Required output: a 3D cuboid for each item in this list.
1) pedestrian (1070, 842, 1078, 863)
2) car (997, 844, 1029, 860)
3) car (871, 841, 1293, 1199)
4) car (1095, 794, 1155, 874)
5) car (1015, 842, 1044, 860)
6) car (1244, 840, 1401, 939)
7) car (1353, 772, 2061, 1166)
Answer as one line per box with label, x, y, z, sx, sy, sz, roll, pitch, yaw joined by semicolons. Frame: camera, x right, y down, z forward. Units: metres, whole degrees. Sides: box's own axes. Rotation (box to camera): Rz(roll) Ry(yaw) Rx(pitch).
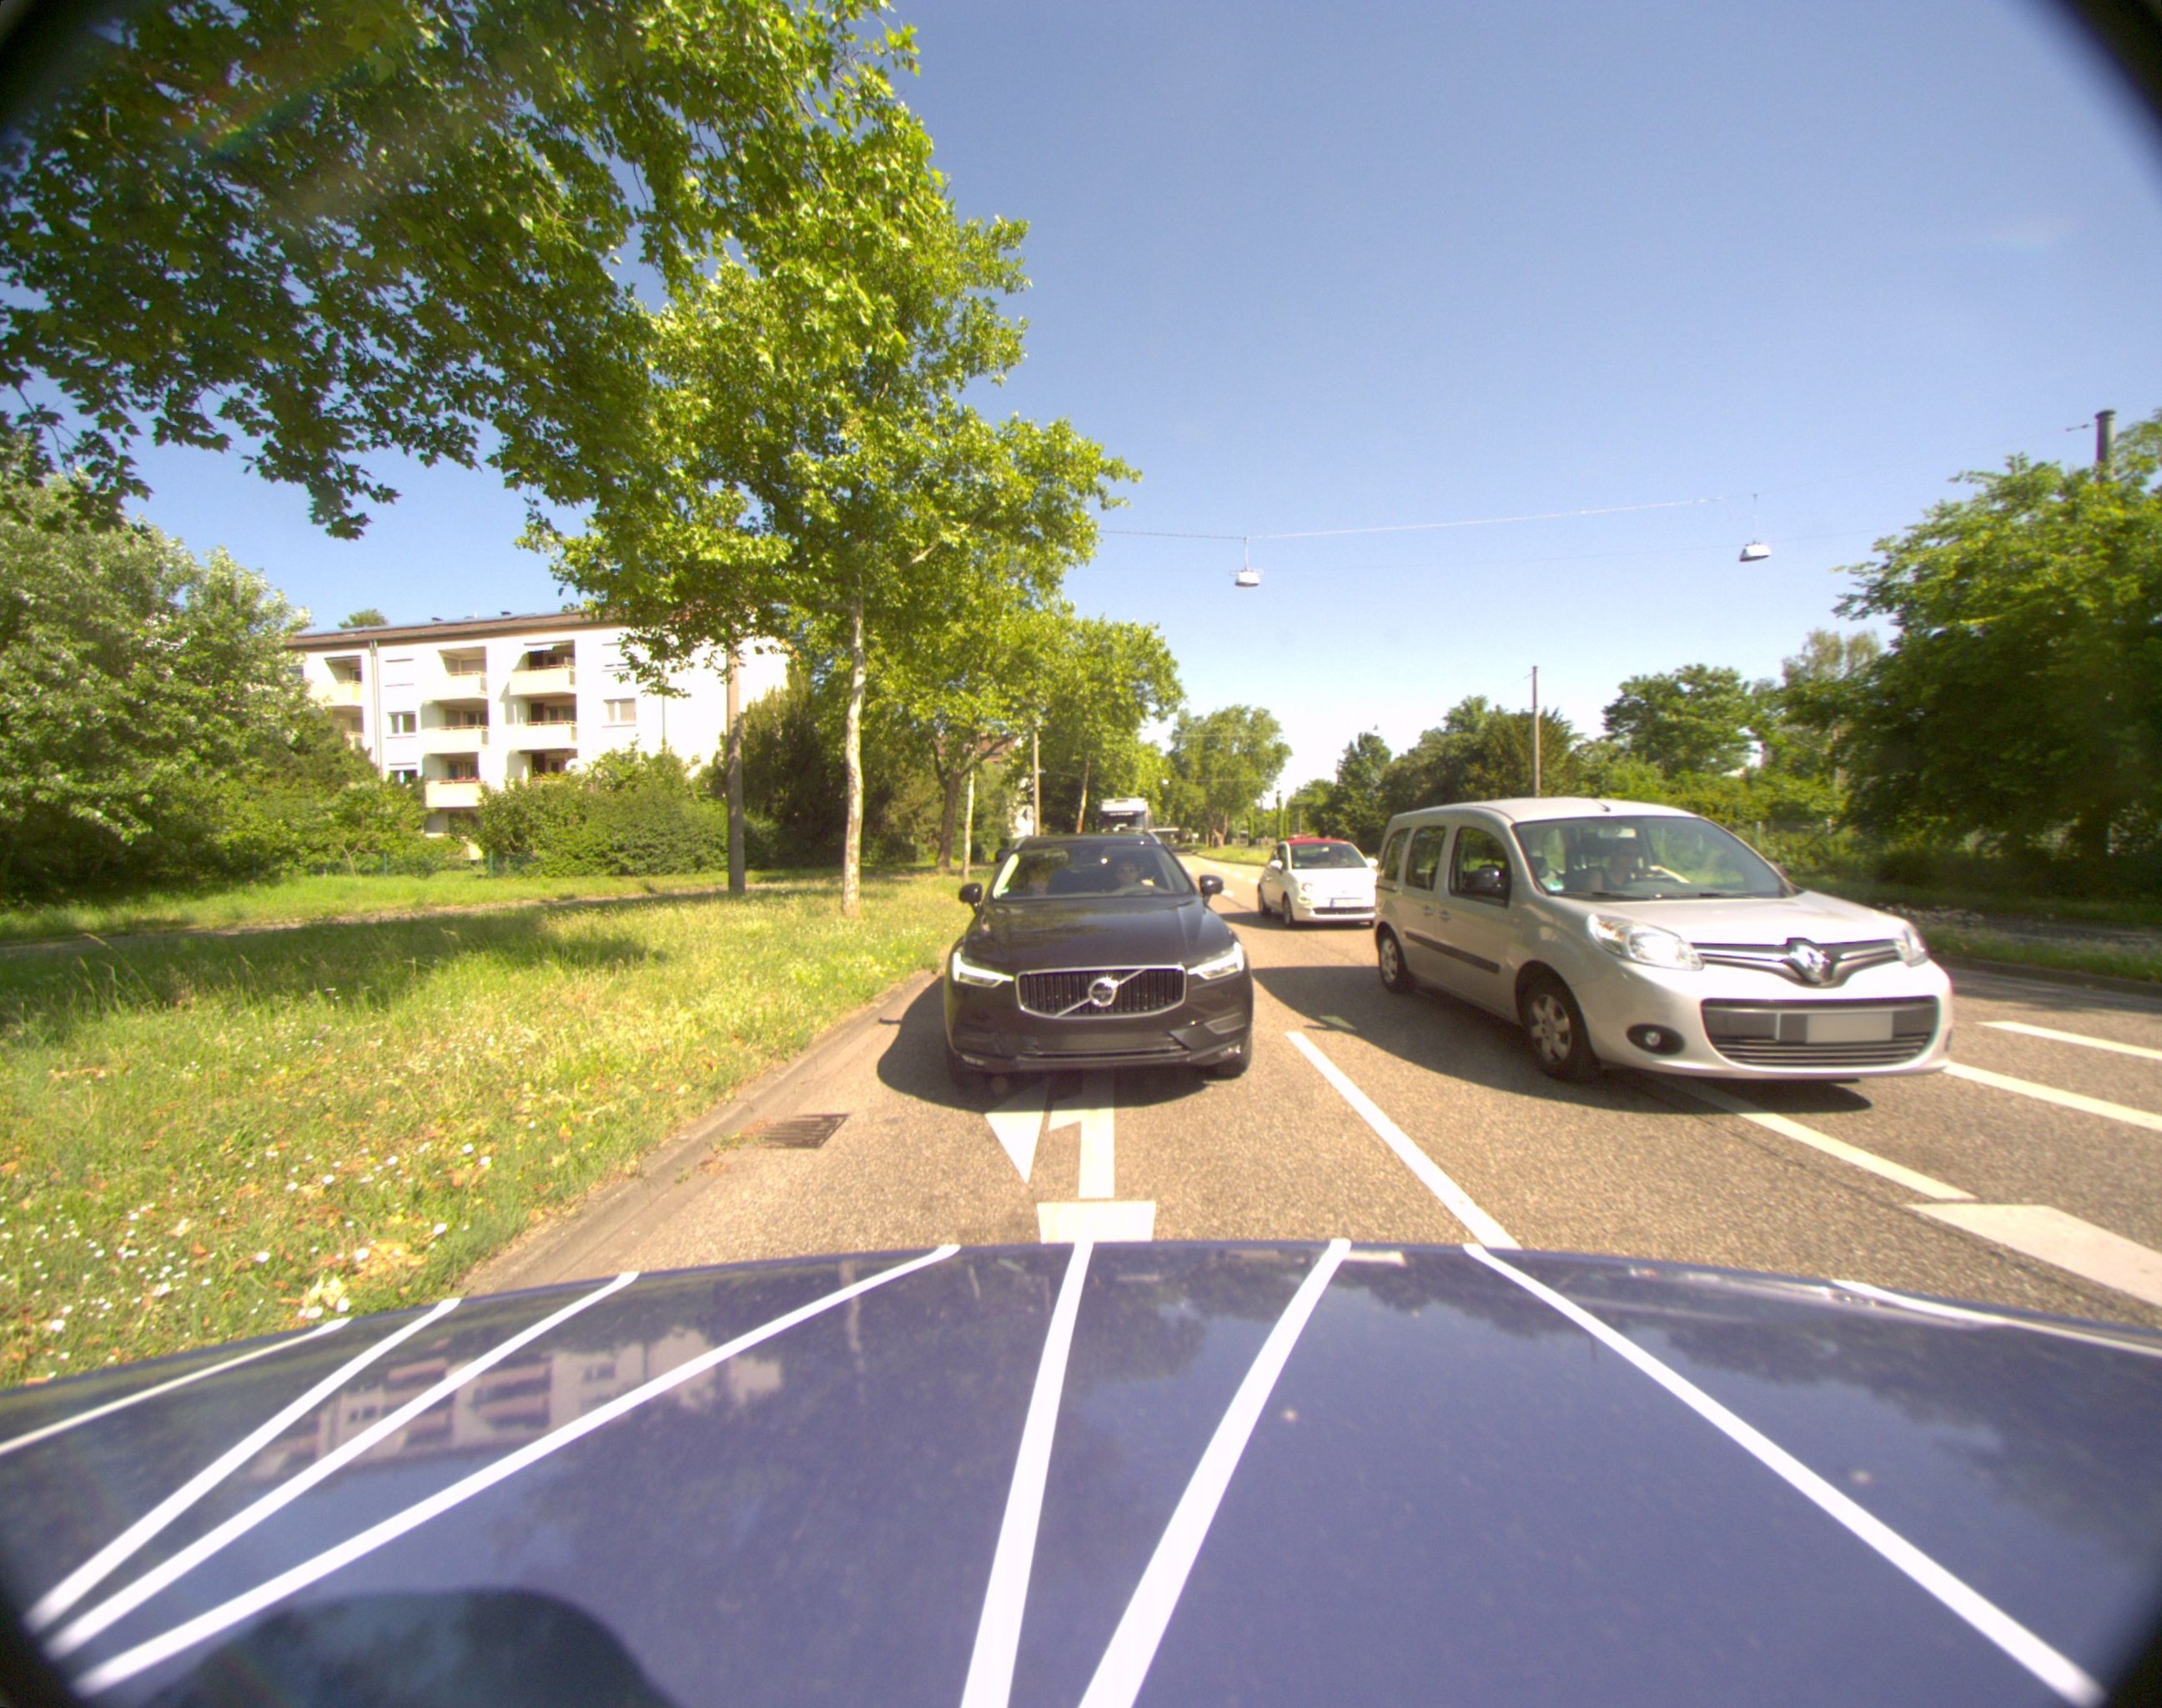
pedestrian;-0.702;-0.117;73.762;0.639;2.002;0.480;0;2;10
car;-6.188;-0.235;69.312;1.504;1.364;4.093;0;1;17
car;0.050;0.734;5.950;1.904;1.606;4.872;-2;1;1
car;2.280;-1.053;40.655;2.902;3.898;7.141;0;1;2
car;-5.003;-0.318;74.665;1.504;1.633;4.093;0;1;17
car;4.257;0.518;14.104;1.689;1.482;4.375;-3;1;3
car;3.694;0.513;5.748;1.876;1.830;4.375;-1;1;3
